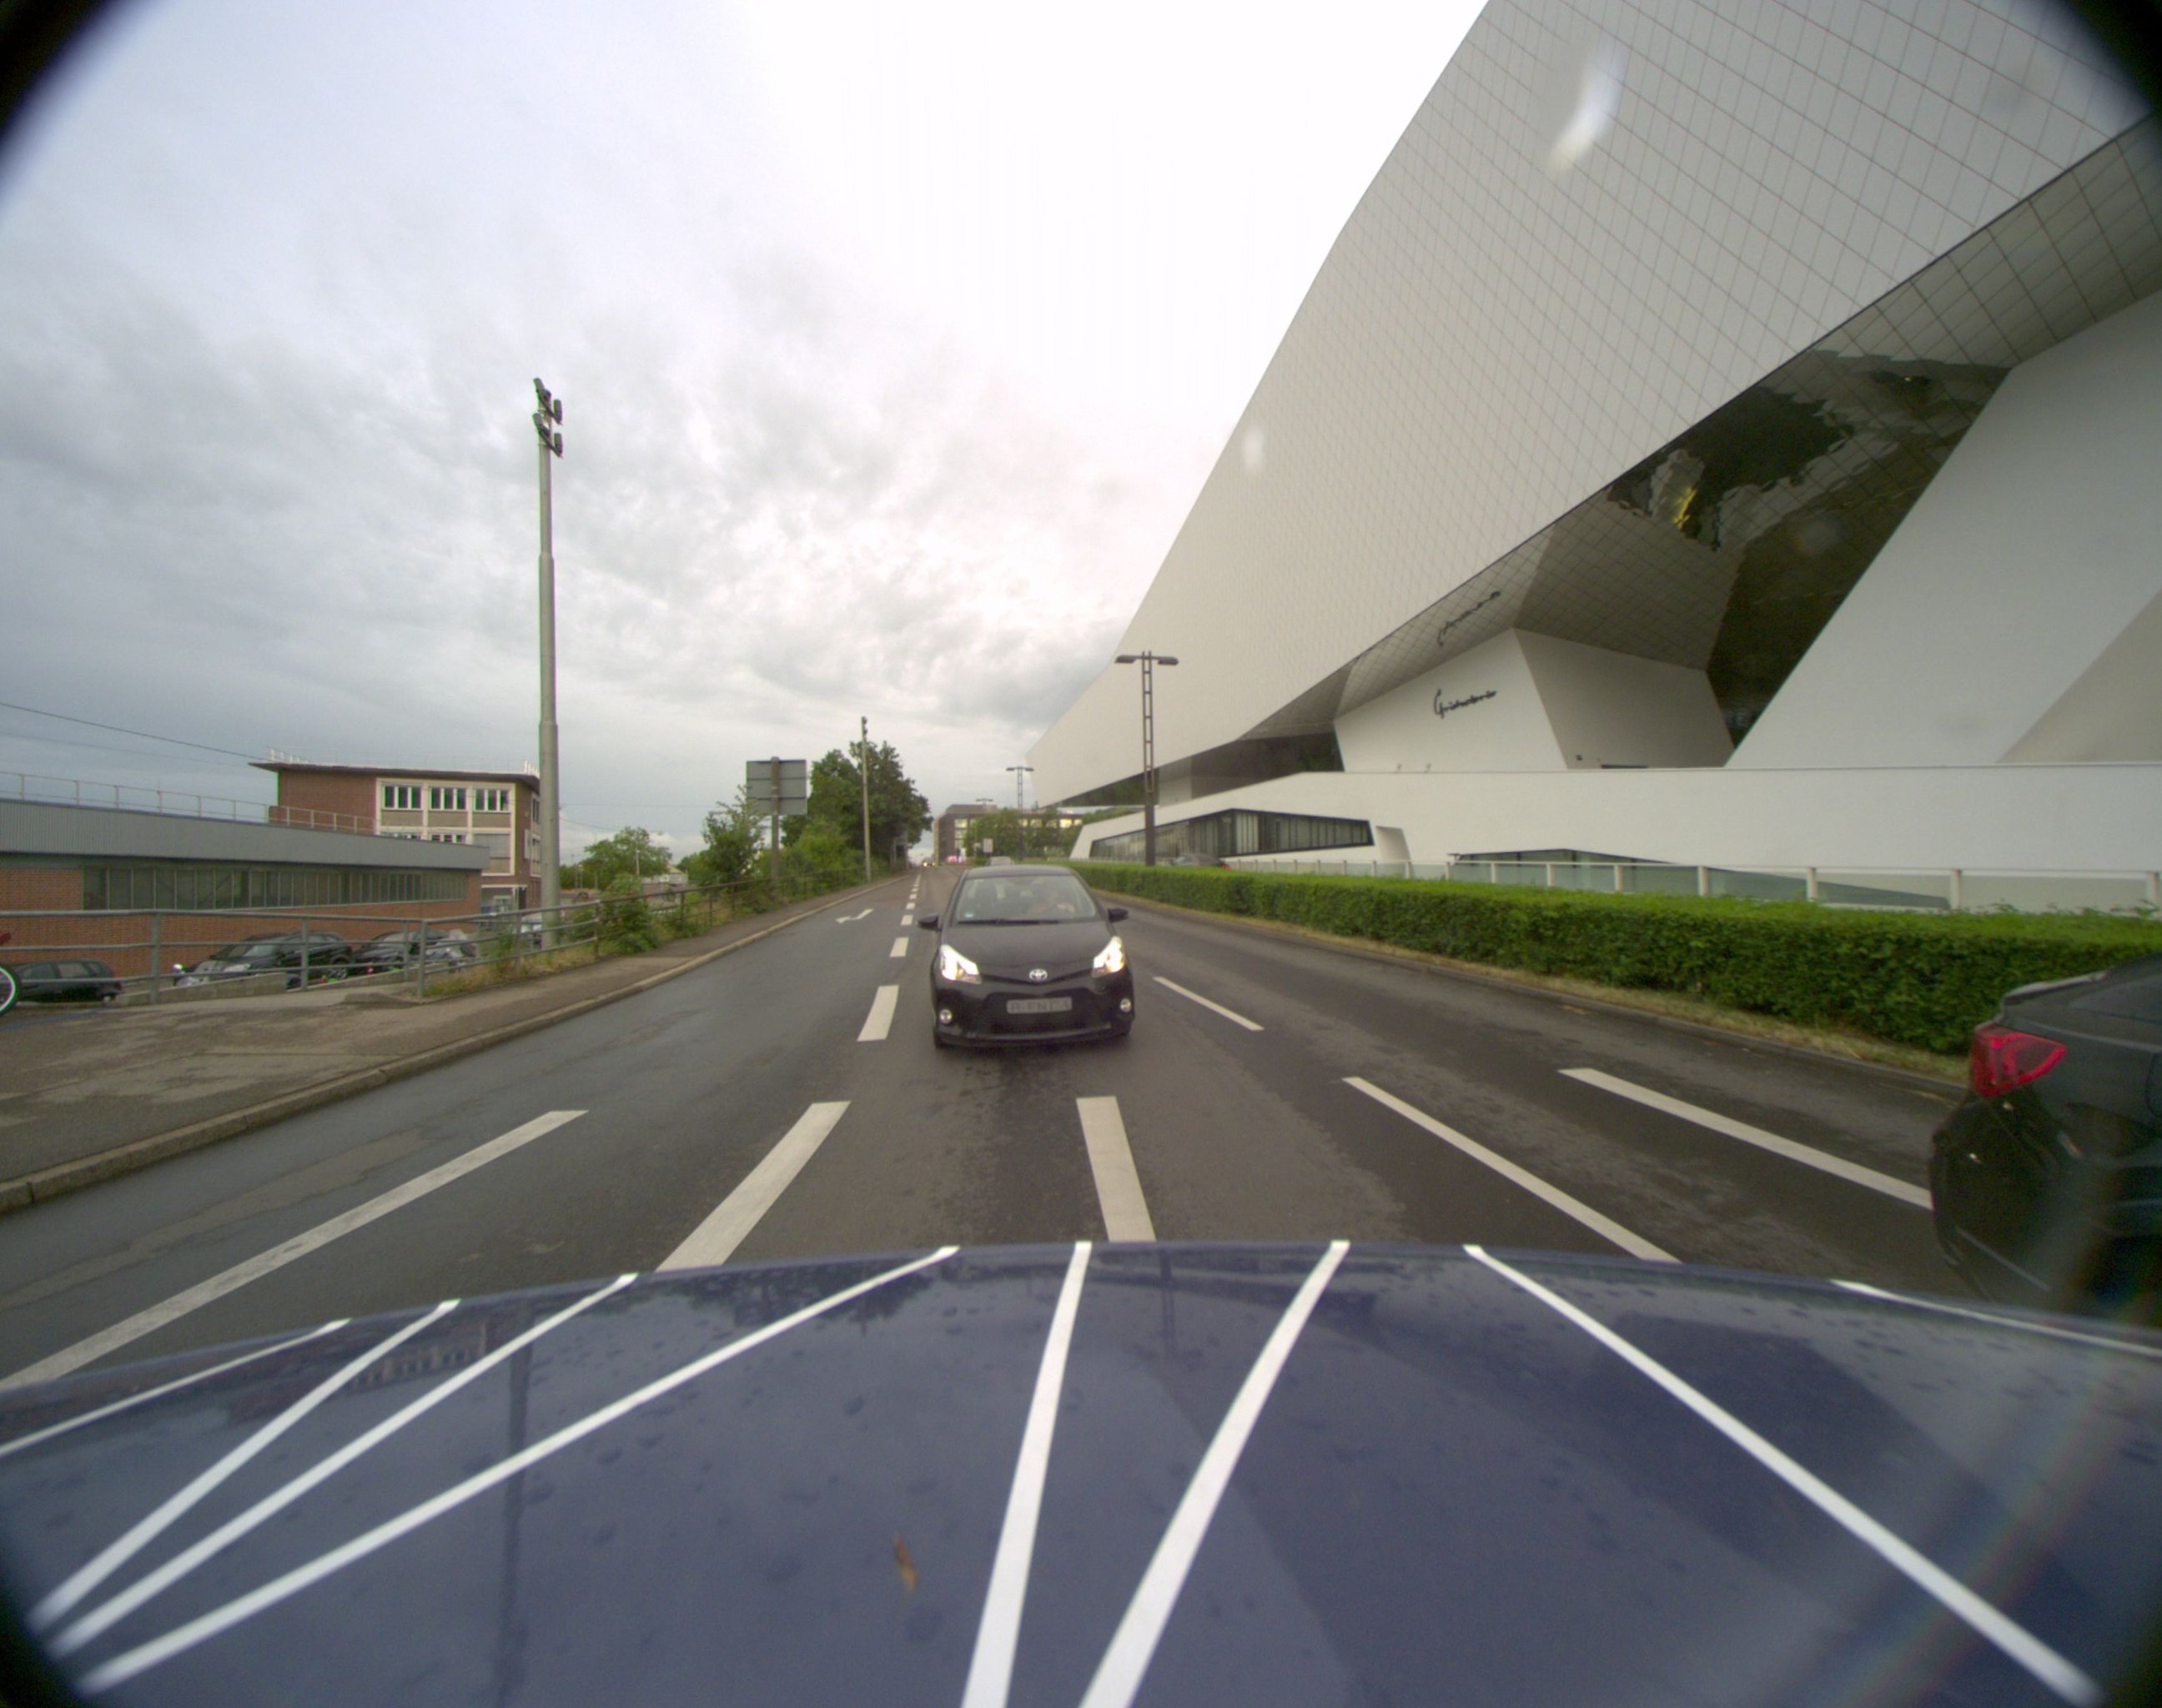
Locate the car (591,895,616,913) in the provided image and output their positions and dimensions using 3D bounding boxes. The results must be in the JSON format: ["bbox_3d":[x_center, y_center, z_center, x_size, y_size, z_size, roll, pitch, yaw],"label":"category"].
[{"bbox_3d":[-42.085,4.373,67.005,1.723,1.417,3.991,-1,-1,-30],"label":"car"}]

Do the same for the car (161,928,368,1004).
[{"bbox_3d":[-24.448,3.271,23.048,1.784,1.657,4.503,-2,-1,-7],"label":"car"}]

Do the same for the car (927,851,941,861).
[{"bbox_3d":[-22.946,0.277,118.370,1.750,1.466,4.063,-2,1,-15],"label":"car"}]

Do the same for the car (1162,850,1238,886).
[{"bbox_3d":[4.948,0.553,32.227,1.726,1.330,3.995,-2,1,-14],"label":"car"}]

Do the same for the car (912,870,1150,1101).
[{"bbox_3d":[-0.626,0.992,7.553,1.695,1.498,4.008,-2,1,-8],"label":"car"}]

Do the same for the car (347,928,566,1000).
[{"bbox_3d":[-14.990,2.620,18.357,3.995,1.417,1.722,-2,-1,5],"label":"car"}]

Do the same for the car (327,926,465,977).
[{"bbox_3d":[-25.692,3.607,28.730,1.720,1.396,4.273,-2,-1,-7],"label":"car"}]

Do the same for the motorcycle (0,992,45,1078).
[{"bbox_3d":[-13.293,2.173,8.719,1.618,0.916,0.420,-3,1,-24],"label":"motorcycle"}]

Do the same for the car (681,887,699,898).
[{"bbox_3d":[-55.438,5.404,107.748,1.724,1.417,3.991,-1,-1,-34],"label":"car"}]

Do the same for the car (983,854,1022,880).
[{"bbox_3d":[-4.747,0.740,45.321,1.819,1.430,4.297,-2,1,-12],"label":"car"}]

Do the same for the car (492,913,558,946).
[{"bbox_3d":[-30.112,4.059,41.267,1.735,1.380,3.994,-2,-1,-19],"label":"car"}]

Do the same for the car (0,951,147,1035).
[{"bbox_3d":[-23.162,3.048,16.286,1.721,1.417,3.997,-2,-1,-10],"label":"car"}]

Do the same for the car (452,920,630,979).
[{"bbox_3d":[-15.530,2.745,21.963,3.995,1.417,1.722,-2,-1,5],"label":"car"}]

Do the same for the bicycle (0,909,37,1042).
[{"bbox_3d":[-10.391,1.094,6.572,1.547,1.148,0.450,0,2,-27],"label":"bicycle"}]
